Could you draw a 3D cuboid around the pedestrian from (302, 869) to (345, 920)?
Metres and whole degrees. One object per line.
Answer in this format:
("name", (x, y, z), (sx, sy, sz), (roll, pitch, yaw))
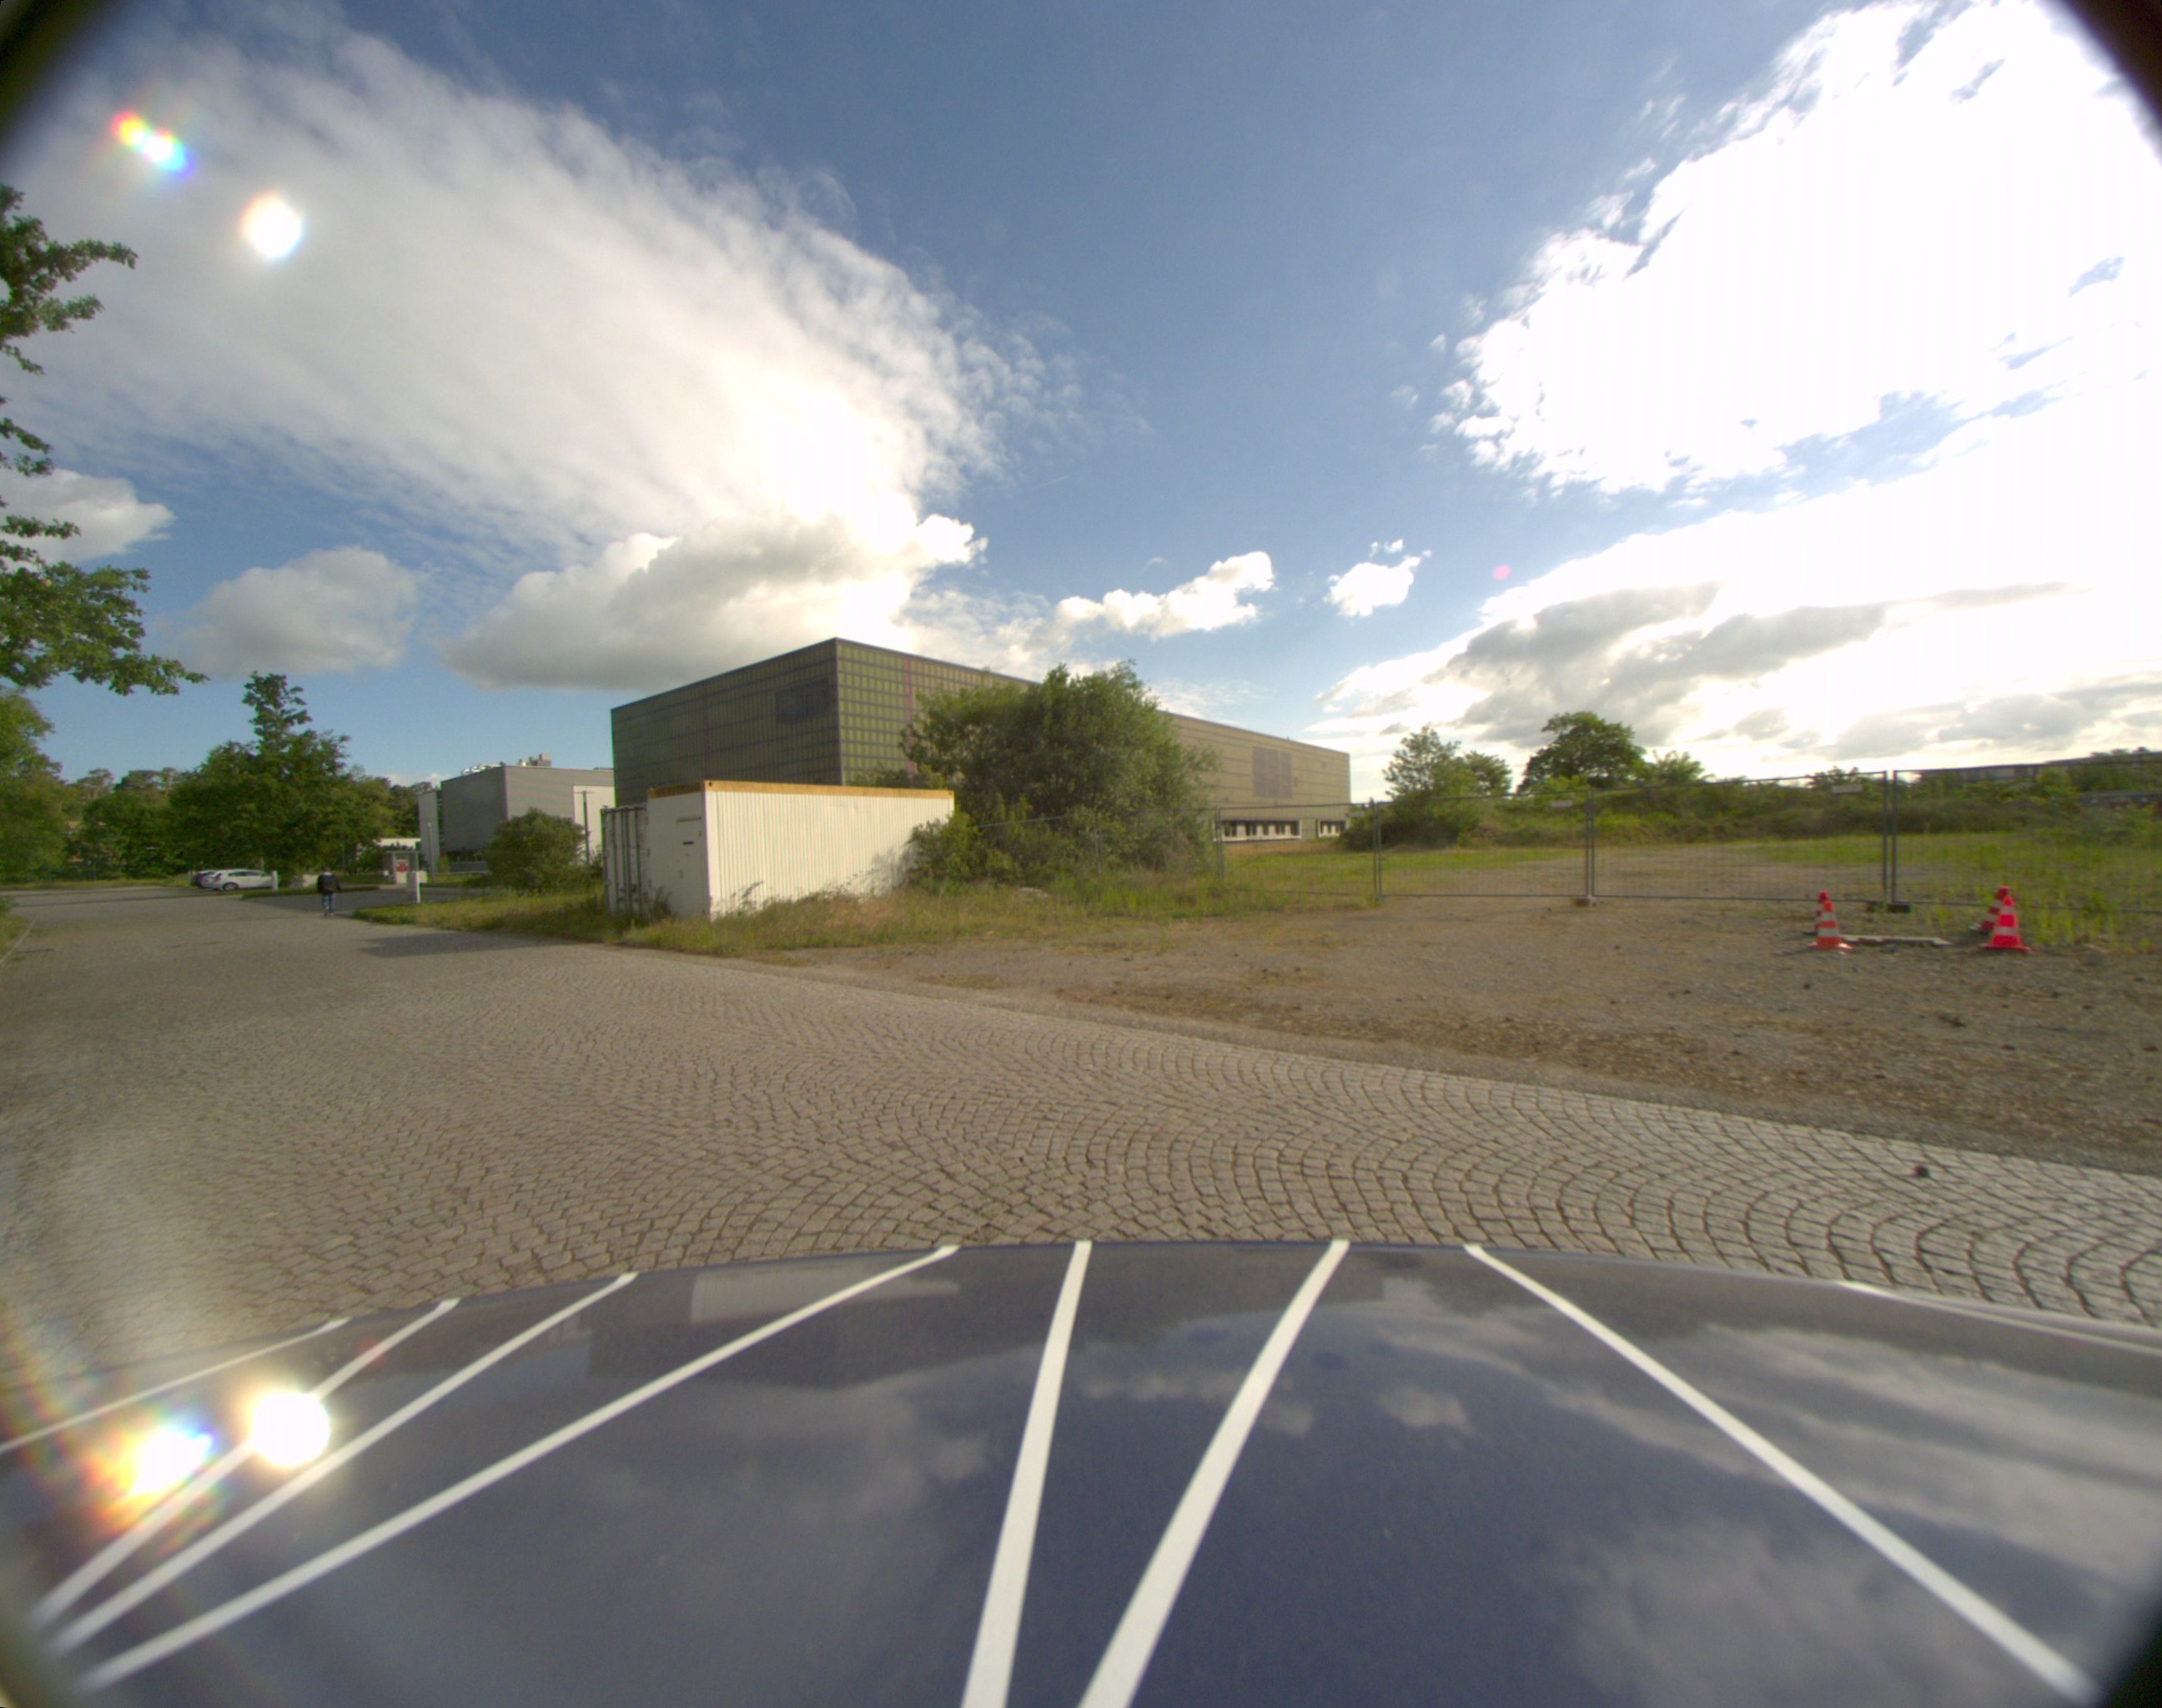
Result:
("pedestrian", (-24.611, 1.300, 24.695), (0.869, 1.550, 1.025), (-4, 2, -42))

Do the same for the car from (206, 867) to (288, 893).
("car", (-61.589, 1.892, 56.187), (1.994, 1.633, 4.007), (-1, 2, 43))

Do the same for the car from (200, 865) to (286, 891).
("car", (-59.734, 1.685, 54.243), (1.994, 1.633, 4.007), (-1, 2, 43))
